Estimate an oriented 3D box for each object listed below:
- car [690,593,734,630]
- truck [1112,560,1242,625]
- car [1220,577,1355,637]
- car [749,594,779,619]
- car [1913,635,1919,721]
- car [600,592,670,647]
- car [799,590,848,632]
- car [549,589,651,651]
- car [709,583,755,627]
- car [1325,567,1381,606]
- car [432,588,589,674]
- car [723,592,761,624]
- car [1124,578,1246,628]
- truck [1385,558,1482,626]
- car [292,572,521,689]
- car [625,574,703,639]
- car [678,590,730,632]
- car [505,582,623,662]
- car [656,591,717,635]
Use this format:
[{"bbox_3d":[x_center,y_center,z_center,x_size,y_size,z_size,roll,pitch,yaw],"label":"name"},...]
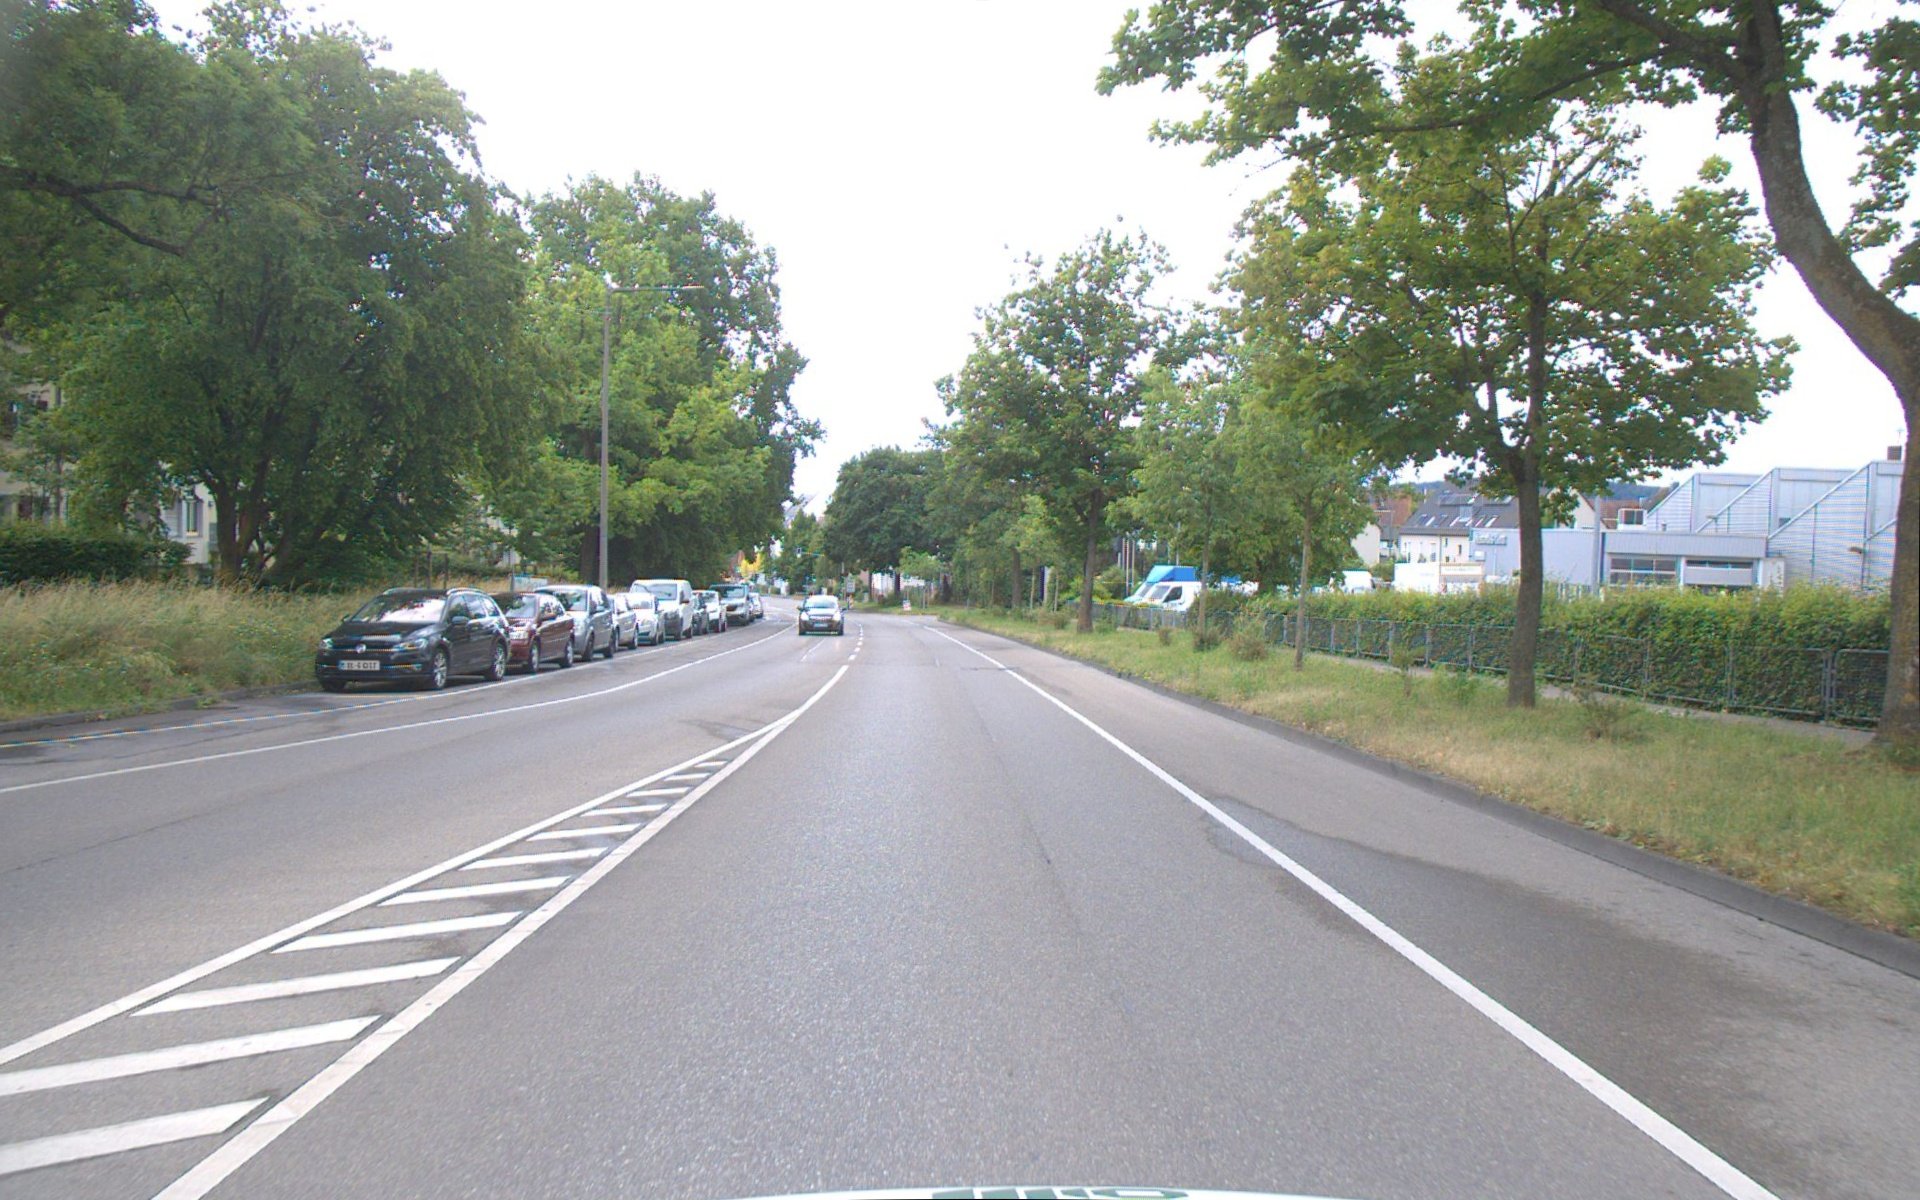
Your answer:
[{"bbox_3d":[-10.587,0.484,70.759,1.630,1.505,4.086,1,0,-5],"label":"car"},{"bbox_3d":[12.201,-0.383,92.810,7.080,3.538,2.595,0,0,-28],"label":"truck"},{"bbox_3d":[13.085,0.297,66.010,5.185,2.226,2.053,2,0,-28],"label":"car"},{"bbox_3d":[-12.570,0.431,106.289,1.732,1.600,4.755,0,0,-5],"label":"car"},{"bbox_3d":[25.563,2.029,40.642,1.953,2.183,4.000,2,0,0],"label":"car"},{"bbox_3d":[-9.318,0.521,47.655,1.603,1.458,3.945,2,0,-6],"label":"car"},{"bbox_3d":[-5.101,0.402,62.329,1.604,1.493,3.999,0,0,-1],"label":"car"},{"bbox_3d":[-9.274,0.476,42.895,1.732,1.521,4.356,0,0,-1],"label":"car"},{"bbox_3d":[-10.875,0.229,79.292,1.829,1.998,5.122,1,0,-4],"label":"car"},{"bbox_3d":[29.308,-1.049,123.131,2.217,2.723,5.431,1,3,35],"label":"car"},{"bbox_3d":[-8.227,0.522,30.646,1.731,1.473,4.150,1,0,0],"label":"car"},{"bbox_3d":[-11.627,0.399,88.363,1.731,1.662,4.155,1,0,-4],"label":"car"},{"bbox_3d":[11.536,0.161,84.806,5.938,2.408,2.342,2,0,-27],"label":"car"},{"bbox_3d":[26.465,-0.411,92.935,2.794,3.519,9.542,2,0,1],"label":"truck"},{"bbox_3d":[-8.328,0.428,25.380,1.836,1.598,4.651,1,0,1],"label":"car"},{"bbox_3d":[-9.547,0.179,53.615,1.732,1.964,5.153,2,0,-2],"label":"car"},{"bbox_3d":[-9.980,0.408,64.749,1.640,1.592,4.278,0,0,-4],"label":"car"},{"bbox_3d":[-8.517,0.427,35.929,1.732,1.619,4.132,1,0,-3],"label":"car"},{"bbox_3d":[-9.886,0.470,59.962,1.639,1.514,4.043,-1,0,-2],"label":"car"}]
